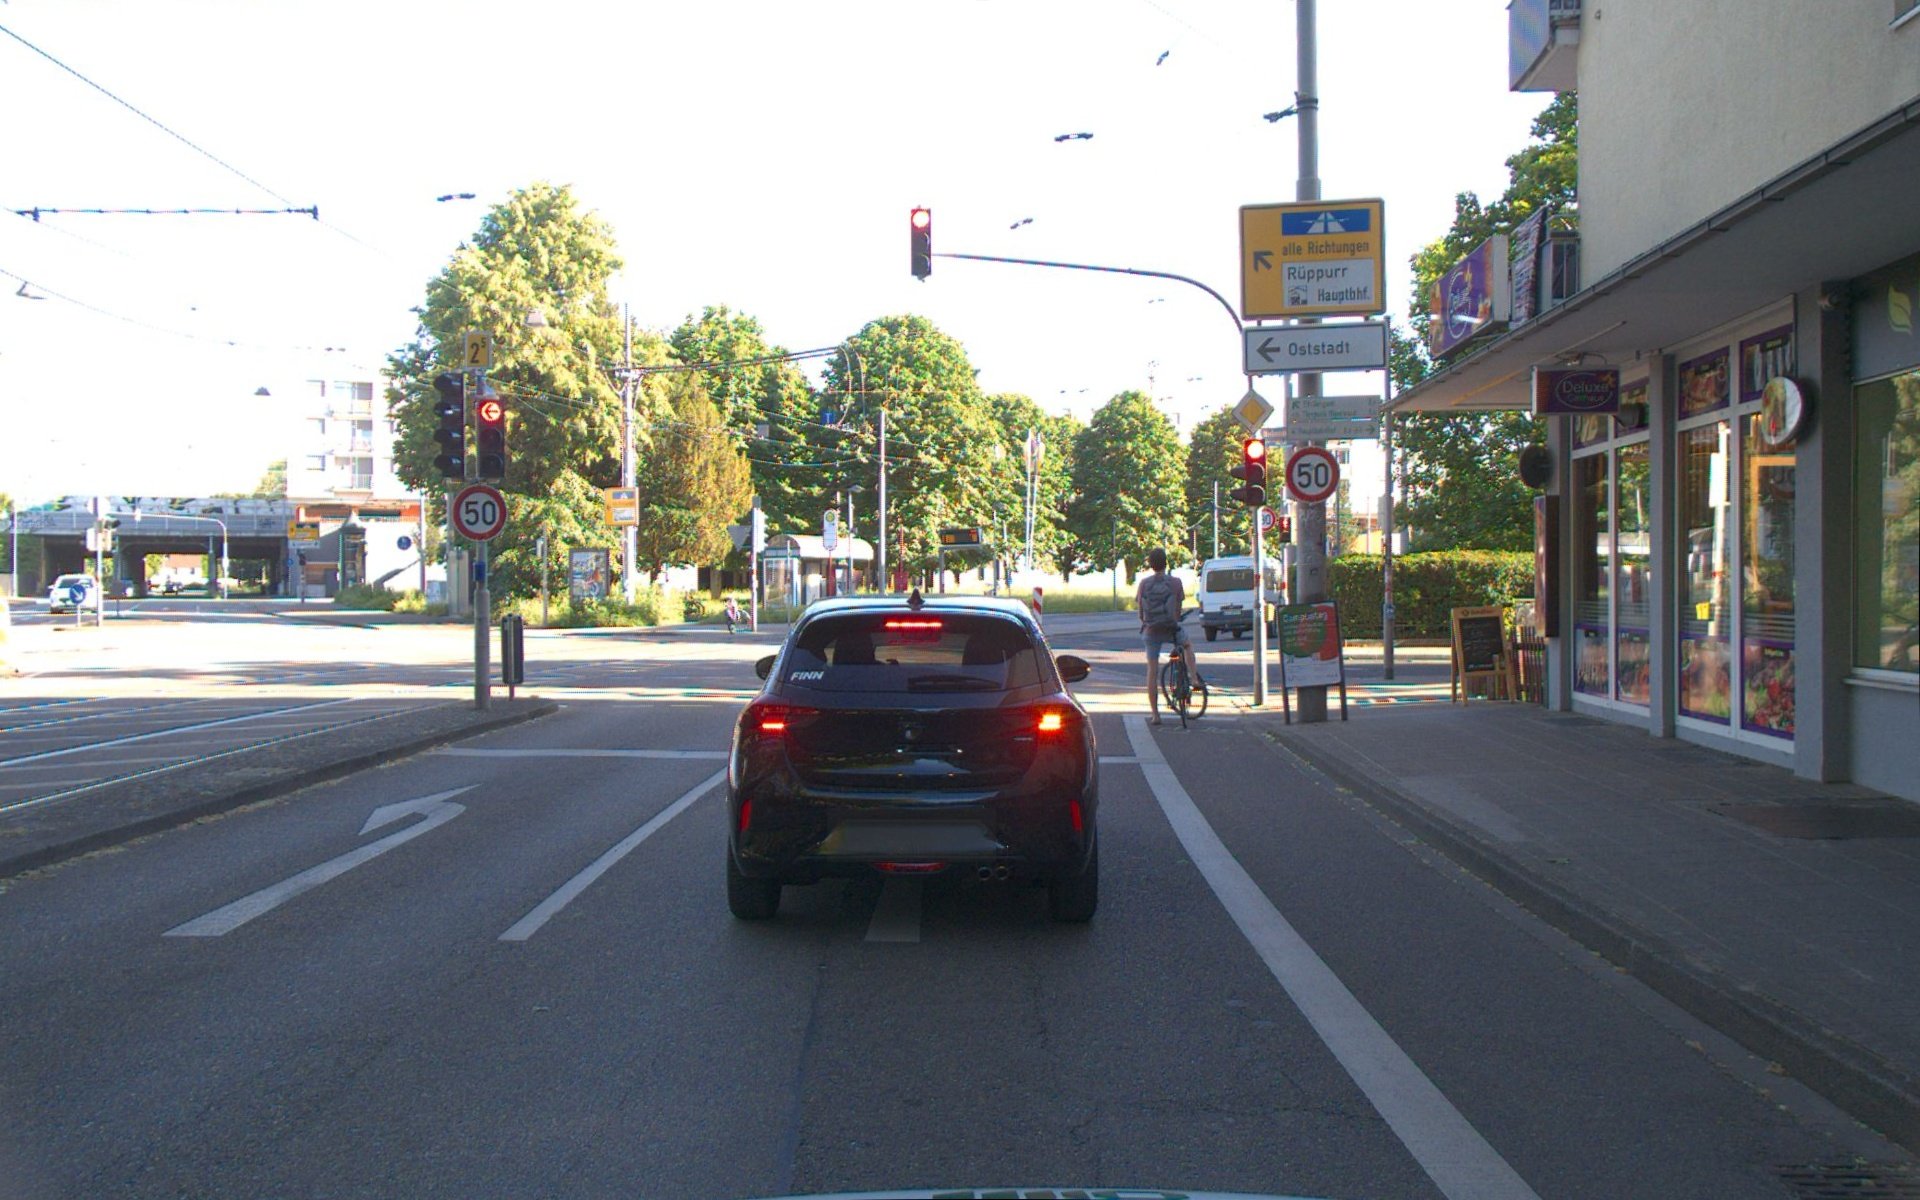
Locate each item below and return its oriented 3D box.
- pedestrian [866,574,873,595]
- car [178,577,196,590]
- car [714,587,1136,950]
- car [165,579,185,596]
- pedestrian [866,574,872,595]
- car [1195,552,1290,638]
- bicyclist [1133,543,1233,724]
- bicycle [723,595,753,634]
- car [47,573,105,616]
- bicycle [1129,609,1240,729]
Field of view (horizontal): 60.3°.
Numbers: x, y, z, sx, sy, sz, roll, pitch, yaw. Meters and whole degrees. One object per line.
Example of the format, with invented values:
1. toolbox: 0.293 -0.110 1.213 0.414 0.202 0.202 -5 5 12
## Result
1. pedestrian: -6.263 -1.093 114.689 0.404 1.437 0.436 2 0 -1
2. car: -106.881 -2.229 228.700 1.972 1.747 3.962 -1 1 -29
3. car: -0.160 0.667 8.779 1.692 1.454 4.186 1 0 -1
4. car: -95.257 -1.509 200.602 1.971 1.981 4.458 -1 1 -28
5. pedestrian: -6.361 -1.095 115.274 0.404 1.437 0.436 2 0 -3
6. car: 8.017 -0.150 46.579 2.020 2.288 4.890 0 1 17
7. bicyclist: 2.378 0.341 17.741 0.922 1.883 0.864 -1 0 -1
8. bicycle: -6.213 0.385 46.374 0.593 1.049 1.982 0 1 -1
9. car: -39.554 -0.277 73.973 2.189 1.855 4.106 -1 1 -29
10. bicycle: 2.379 0.703 17.794 0.842 1.173 2.171 -1 1 -1
